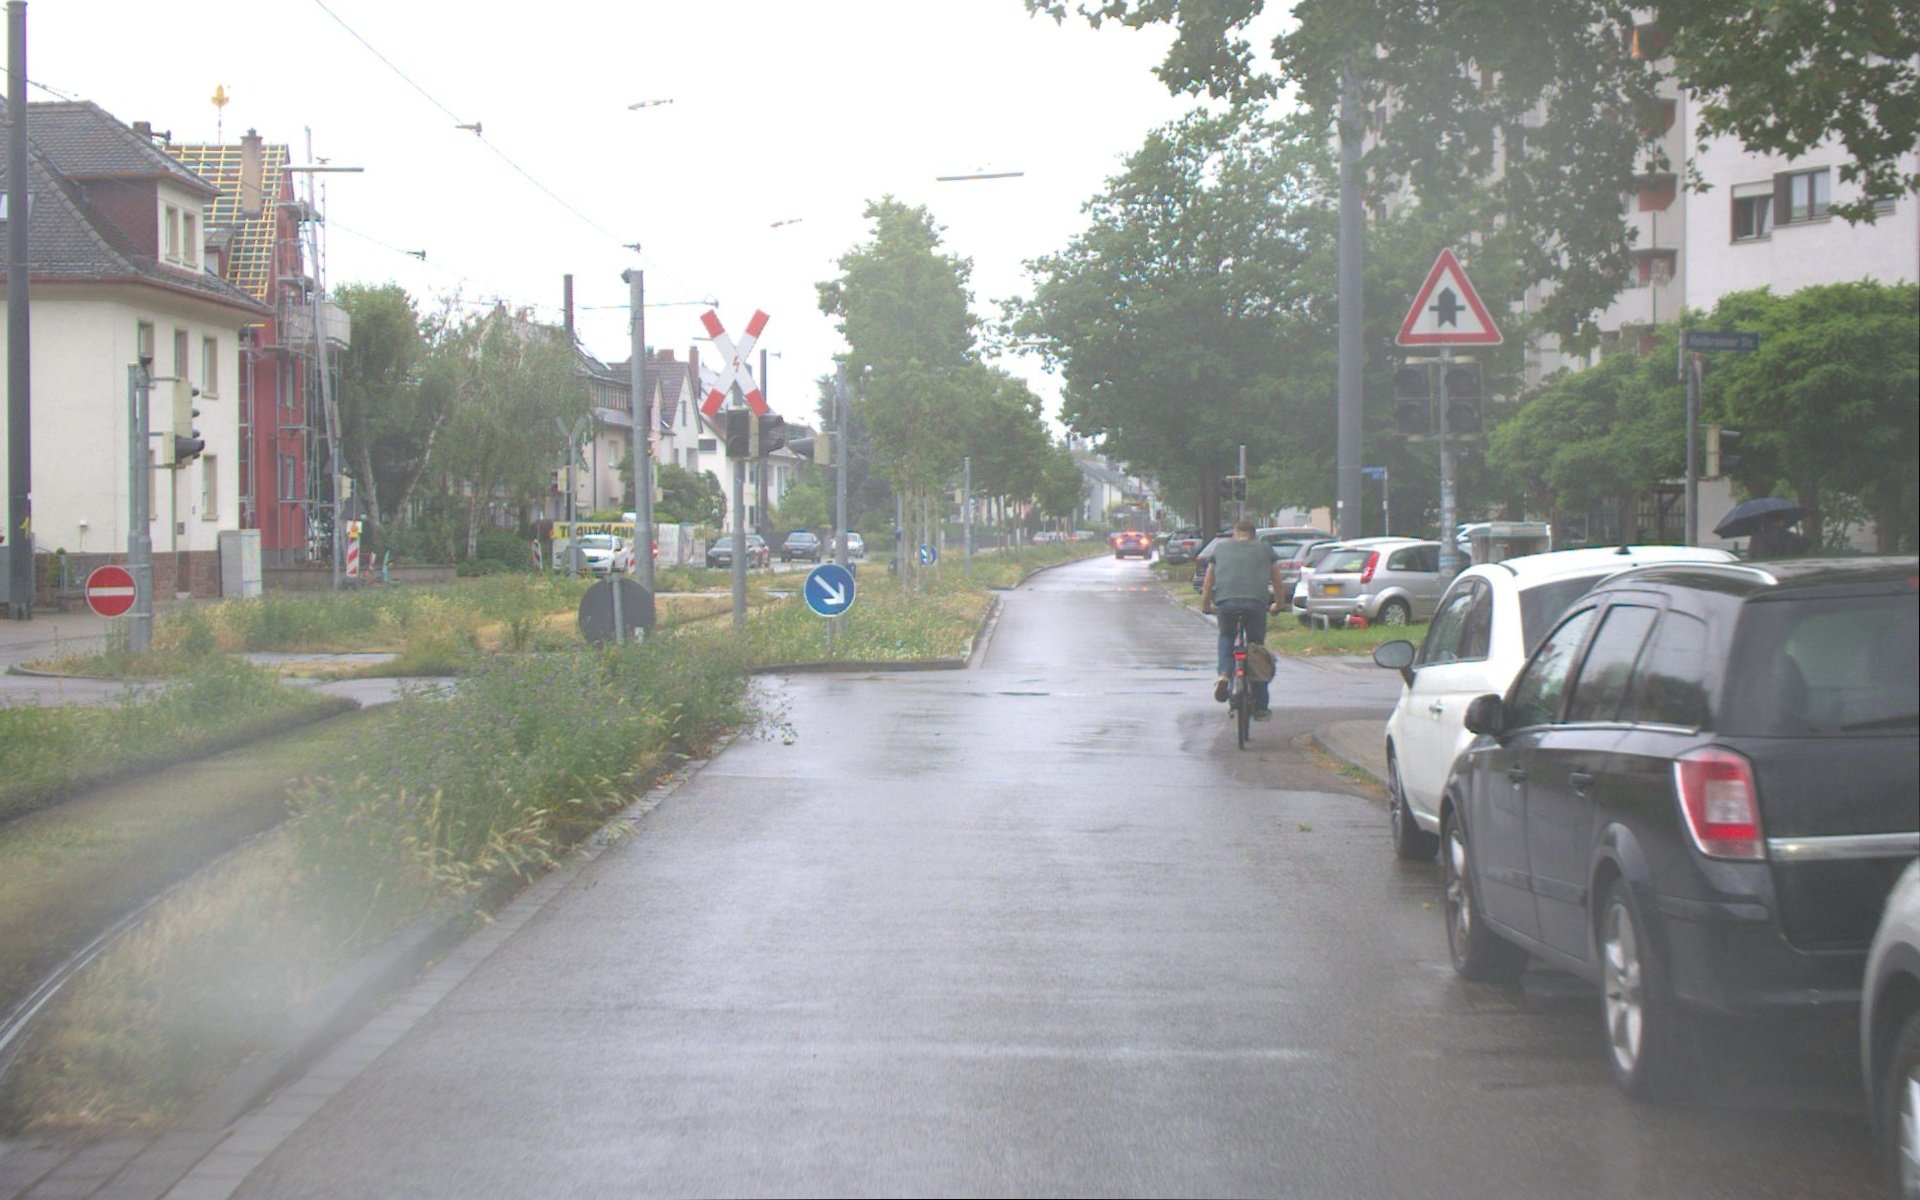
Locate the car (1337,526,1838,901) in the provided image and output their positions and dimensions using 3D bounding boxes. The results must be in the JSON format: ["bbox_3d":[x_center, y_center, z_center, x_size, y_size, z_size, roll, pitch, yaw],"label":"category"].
[{"bbox_3d":[2.800,0.423,16.134,1.558,1.514,4.000,-1,1,-1],"label":"car"}]

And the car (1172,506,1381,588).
[{"bbox_3d":[6.706,-1.140,72.635,4.337,1.645,1.857,-2,2,-39],"label":"car"}]

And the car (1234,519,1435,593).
[{"bbox_3d":[7.599,-0.908,69.607,3.988,1.424,1.734,-2,2,-39],"label":"car"}]

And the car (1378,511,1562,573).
[{"bbox_3d":[14.554,-1.668,98.274,4.801,1.739,2.001,0,1,-12],"label":"car"}]

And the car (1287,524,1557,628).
[{"bbox_3d":[7.304,-0.382,54.244,3.987,1.503,1.784,-2,0,-34],"label":"car"}]

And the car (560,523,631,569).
[{"bbox_3d":[-13.014,-1.955,122.891,1.710,1.537,4.422,2,2,4],"label":"car"}]

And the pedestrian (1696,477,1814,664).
[{"bbox_3d":[7.859,-0.304,34.055,1.100,1.807,1.433,0,1,12],"label":"pedestrian"}]

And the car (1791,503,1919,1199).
[{"bbox_3d":[2.724,0.623,5.099,1.899,1.569,4.112,-1,1,-1],"label":"car"}]

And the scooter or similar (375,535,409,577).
[{"bbox_3d":[-16.072,-1.240,97.324,0.394,1.176,1.282,0,1,17],"label":"scooter or similar"}]

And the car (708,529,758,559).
[{"bbox_3d":[-10.038,-2.477,152.390,1.663,1.240,4.071,2,1,4],"label":"car"}]

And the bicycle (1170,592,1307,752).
[{"bbox_3d":[2.090,0.519,26.135,0.809,1.093,2.517,-1,1,0],"label":"bicycle"}]

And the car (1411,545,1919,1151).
[{"bbox_3d":[2.663,0.577,10.580,1.899,1.444,4.185,-1,1,-1],"label":"car"}]

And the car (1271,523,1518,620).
[{"bbox_3d":[7.297,-0.487,57.577,3.988,1.503,1.705,-2,0,-37],"label":"car"}]

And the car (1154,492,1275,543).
[{"bbox_3d":[9.732,-3.155,131.576,4.134,1.713,2.000,-4,3,-28],"label":"car"}]

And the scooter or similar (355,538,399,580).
[{"bbox_3d":[-15.977,-1.126,94.217,0.441,1.125,1.280,0,1,32],"label":"scooter or similar"}]

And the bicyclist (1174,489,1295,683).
[{"bbox_3d":[2.074,-0.113,26.060,0.809,1.428,1.060,-1,1,0],"label":"bicyclist"}]
